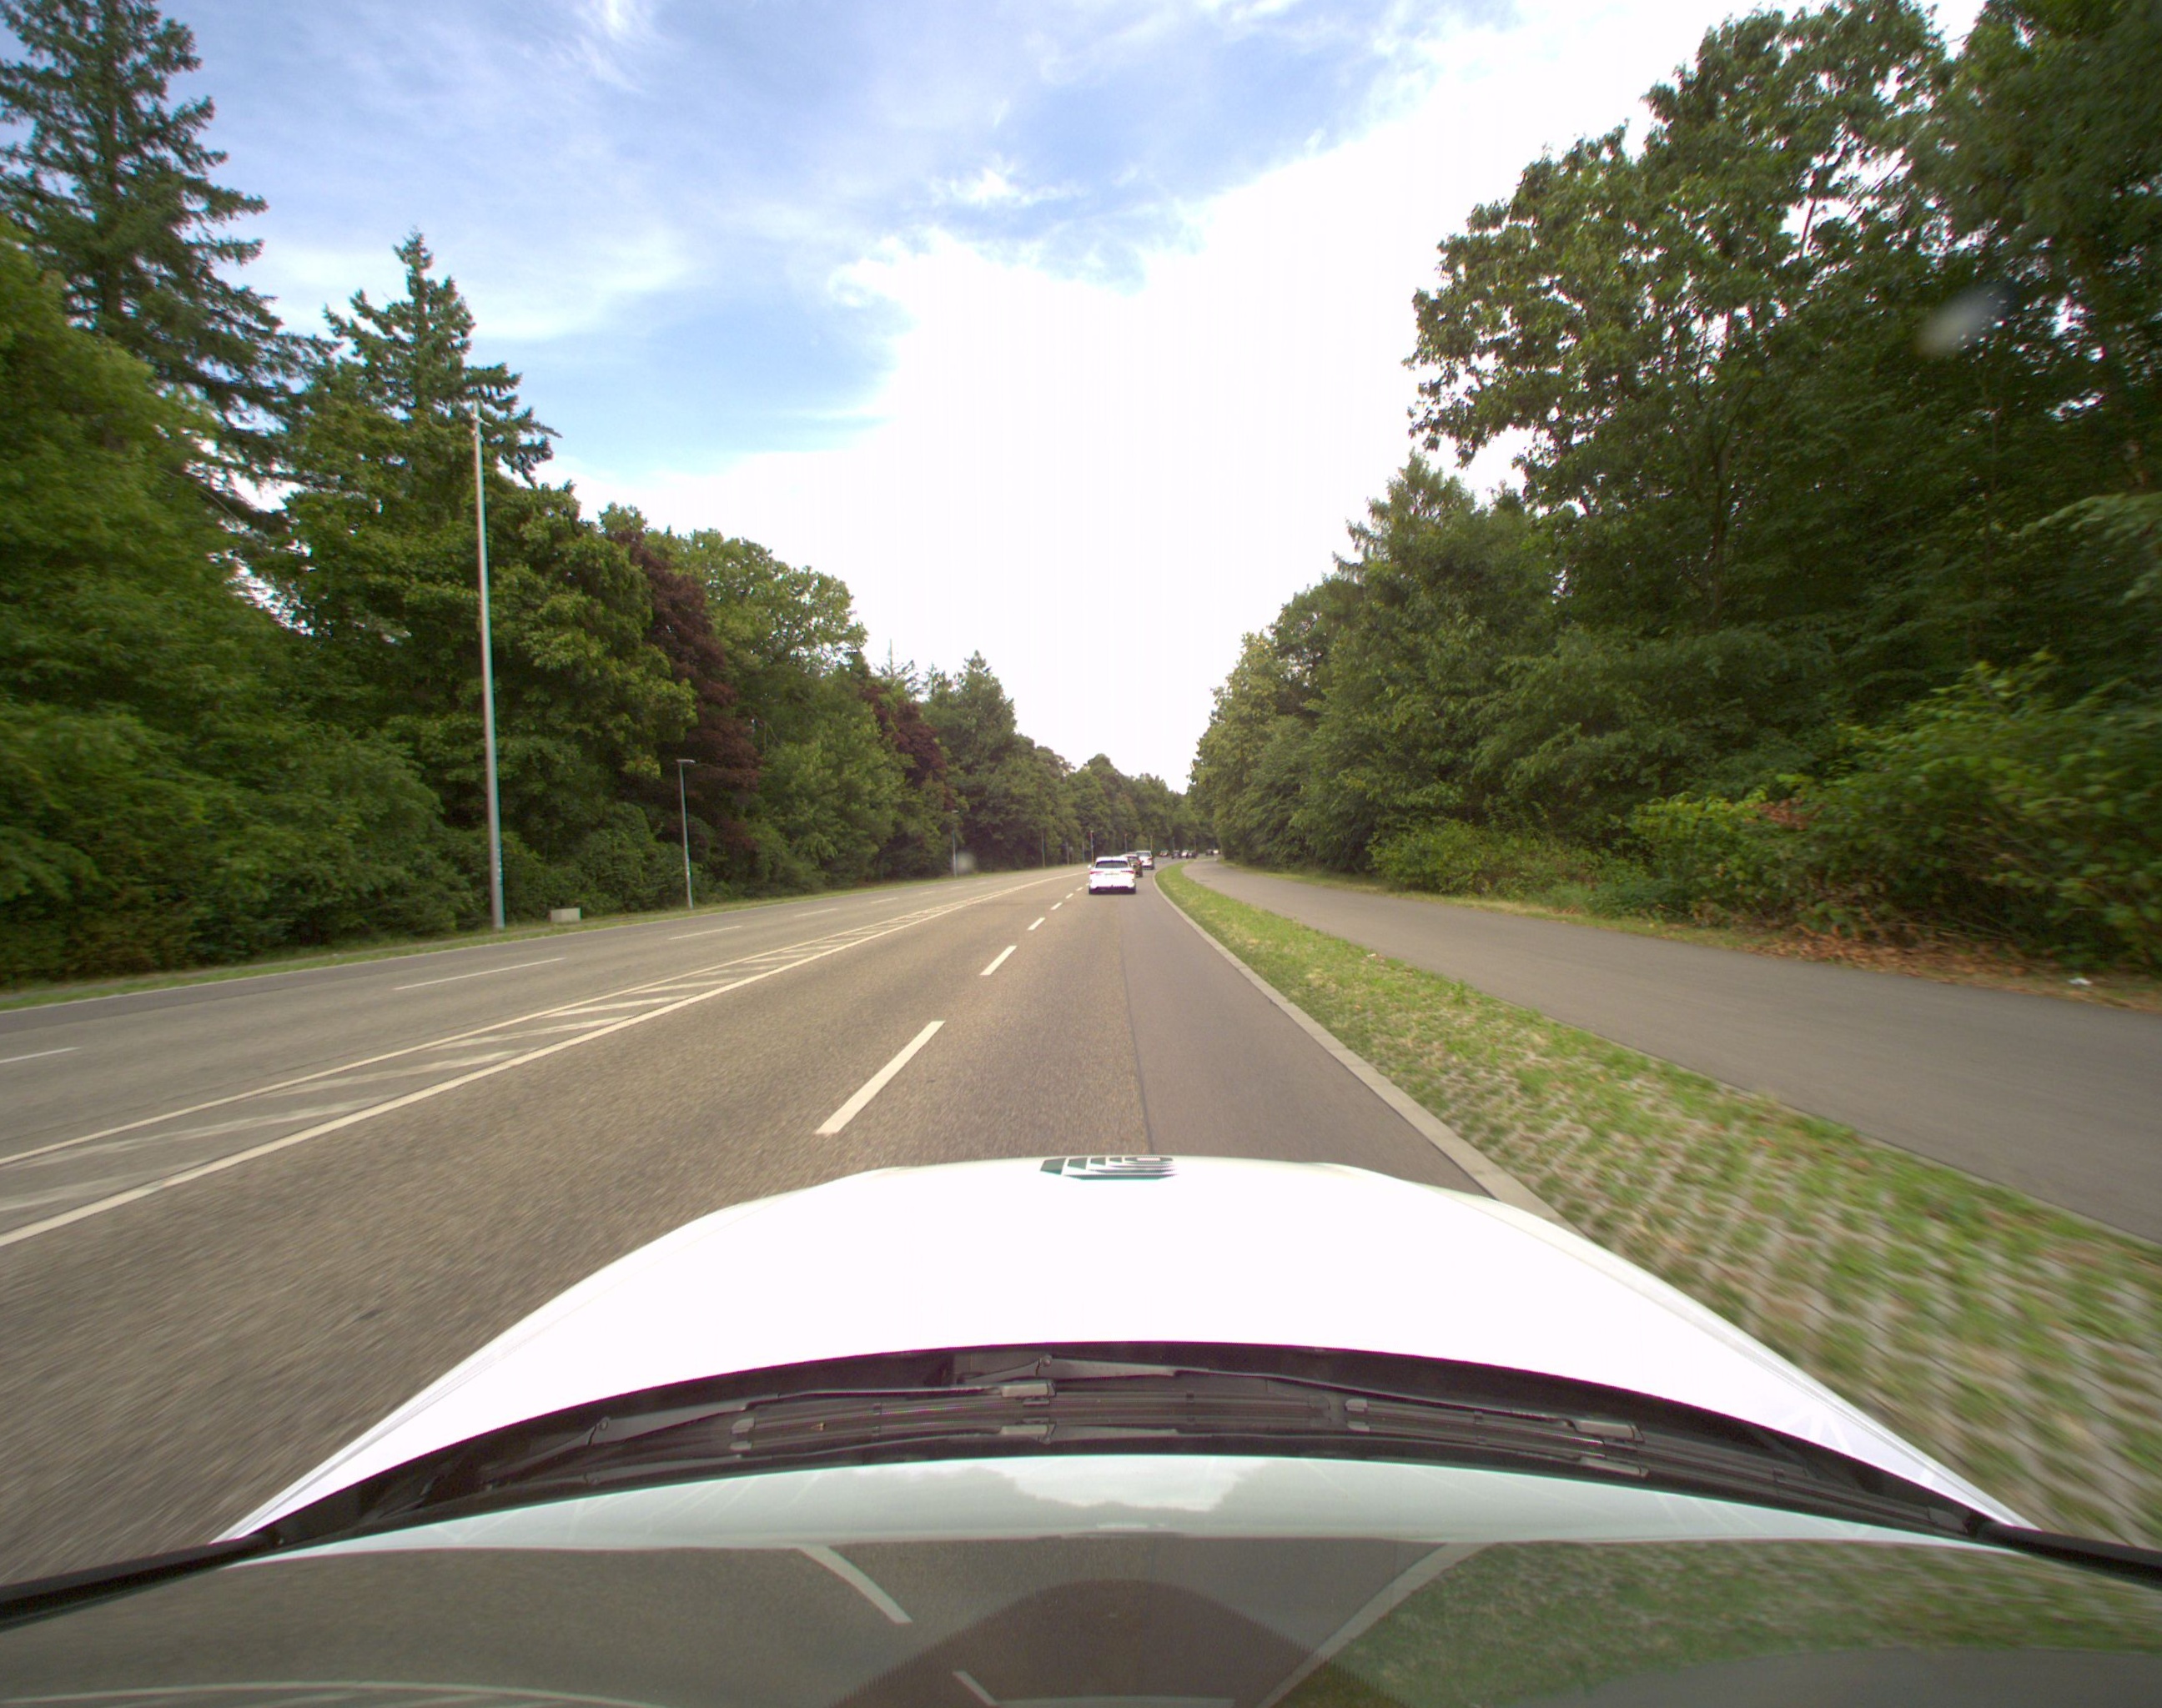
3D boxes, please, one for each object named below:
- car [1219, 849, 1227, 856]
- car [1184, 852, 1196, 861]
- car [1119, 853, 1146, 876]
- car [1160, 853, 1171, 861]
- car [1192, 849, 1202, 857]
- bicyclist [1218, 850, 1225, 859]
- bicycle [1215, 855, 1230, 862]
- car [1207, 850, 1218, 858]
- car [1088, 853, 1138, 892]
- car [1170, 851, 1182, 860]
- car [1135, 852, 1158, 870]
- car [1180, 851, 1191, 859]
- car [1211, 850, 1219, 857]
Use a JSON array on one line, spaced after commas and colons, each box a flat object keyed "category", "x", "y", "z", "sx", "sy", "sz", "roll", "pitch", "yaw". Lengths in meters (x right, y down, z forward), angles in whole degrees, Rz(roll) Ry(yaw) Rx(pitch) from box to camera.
[{"category": "car", "x": 40.710, "y": -0.416, "z": 233.482, "sx": 1.979, "sy": 1.706, "sz": 4.015, "roll": -2, "pitch": 0, "yaw": 14}, {"category": "car", "x": 21.452, "y": 0.447, "z": 160.471, "sx": 1.980, "sy": 1.783, "sz": 4.013, "roll": 0, "pitch": -1, "yaw": 12}, {"category": "car", "x": 3.282, "y": 0.676, "z": 52.001, "sx": 1.628, "sy": 1.420, "sz": 4.003, "roll": 0, "pitch": -1, "yaw": 3}, {"category": "car", "x": 19.956, "y": 0.694, "z": 192.927, "sx": 1.979, "sy": 1.791, "sz": 4.765, "roll": 0, "pitch": -1, "yaw": 14}, {"category": "car", "x": 28.197, "y": -0.294, "z": 198.428, "sx": 1.979, "sy": 1.783, "sz": 4.014, "roll": 0, "pitch": -1, "yaw": 14}, {"category": "bicyclist", "x": 21.816, "y": 0.088, "z": 126.381, "sx": 0.890, "sy": 1.470, "sz": 0.715, "roll": -2, "pitch": -1, "yaw": 38}, {"category": "bicycle", "x": 21.926, "y": 0.712, "z": 126.322, "sx": 2.153, "sy": 0.994, "sz": 0.715, "roll": -2, "pitch": -1, "yaw": 38}, {"category": "car", "x": 33.161, "y": 0.006, "z": 204.911, "sx": 1.977, "sy": 1.783, "sz": 4.019, "roll": 0, "pitch": -1, "yaw": 19}, {"category": "car", "x": 1.320, "y": 0.712, "z": 31.938, "sx": 1.828, "sy": 1.410, "sz": 4.495, "roll": 0, "pitch": -1, "yaw": 4}, {"category": "car", "x": 19.149, "y": 0.249, "z": 163.930, "sx": 1.980, "sy": 1.783, "sz": 4.013, "roll": 0, "pitch": -1, "yaw": 12}, {"category": "car", "x": 5.904, "y": 0.645, "z": 73.560, "sx": 1.984, "sy": 1.607, "sz": 4.005, "roll": 0, "pitch": -1, "yaw": 5}, {"category": "car", "x": 23.282, "y": 0.202, "z": 181.303, "sx": 1.980, "sy": 1.783, "sz": 4.014, "roll": 0, "pitch": -1, "yaw": 13}, {"category": "car", "x": 40.459, "y": -0.133, "z": 245.807, "sx": 1.874, "sy": 1.816, "sz": 4.016, "roll": 0, "pitch": -1, "yaw": 15}]
